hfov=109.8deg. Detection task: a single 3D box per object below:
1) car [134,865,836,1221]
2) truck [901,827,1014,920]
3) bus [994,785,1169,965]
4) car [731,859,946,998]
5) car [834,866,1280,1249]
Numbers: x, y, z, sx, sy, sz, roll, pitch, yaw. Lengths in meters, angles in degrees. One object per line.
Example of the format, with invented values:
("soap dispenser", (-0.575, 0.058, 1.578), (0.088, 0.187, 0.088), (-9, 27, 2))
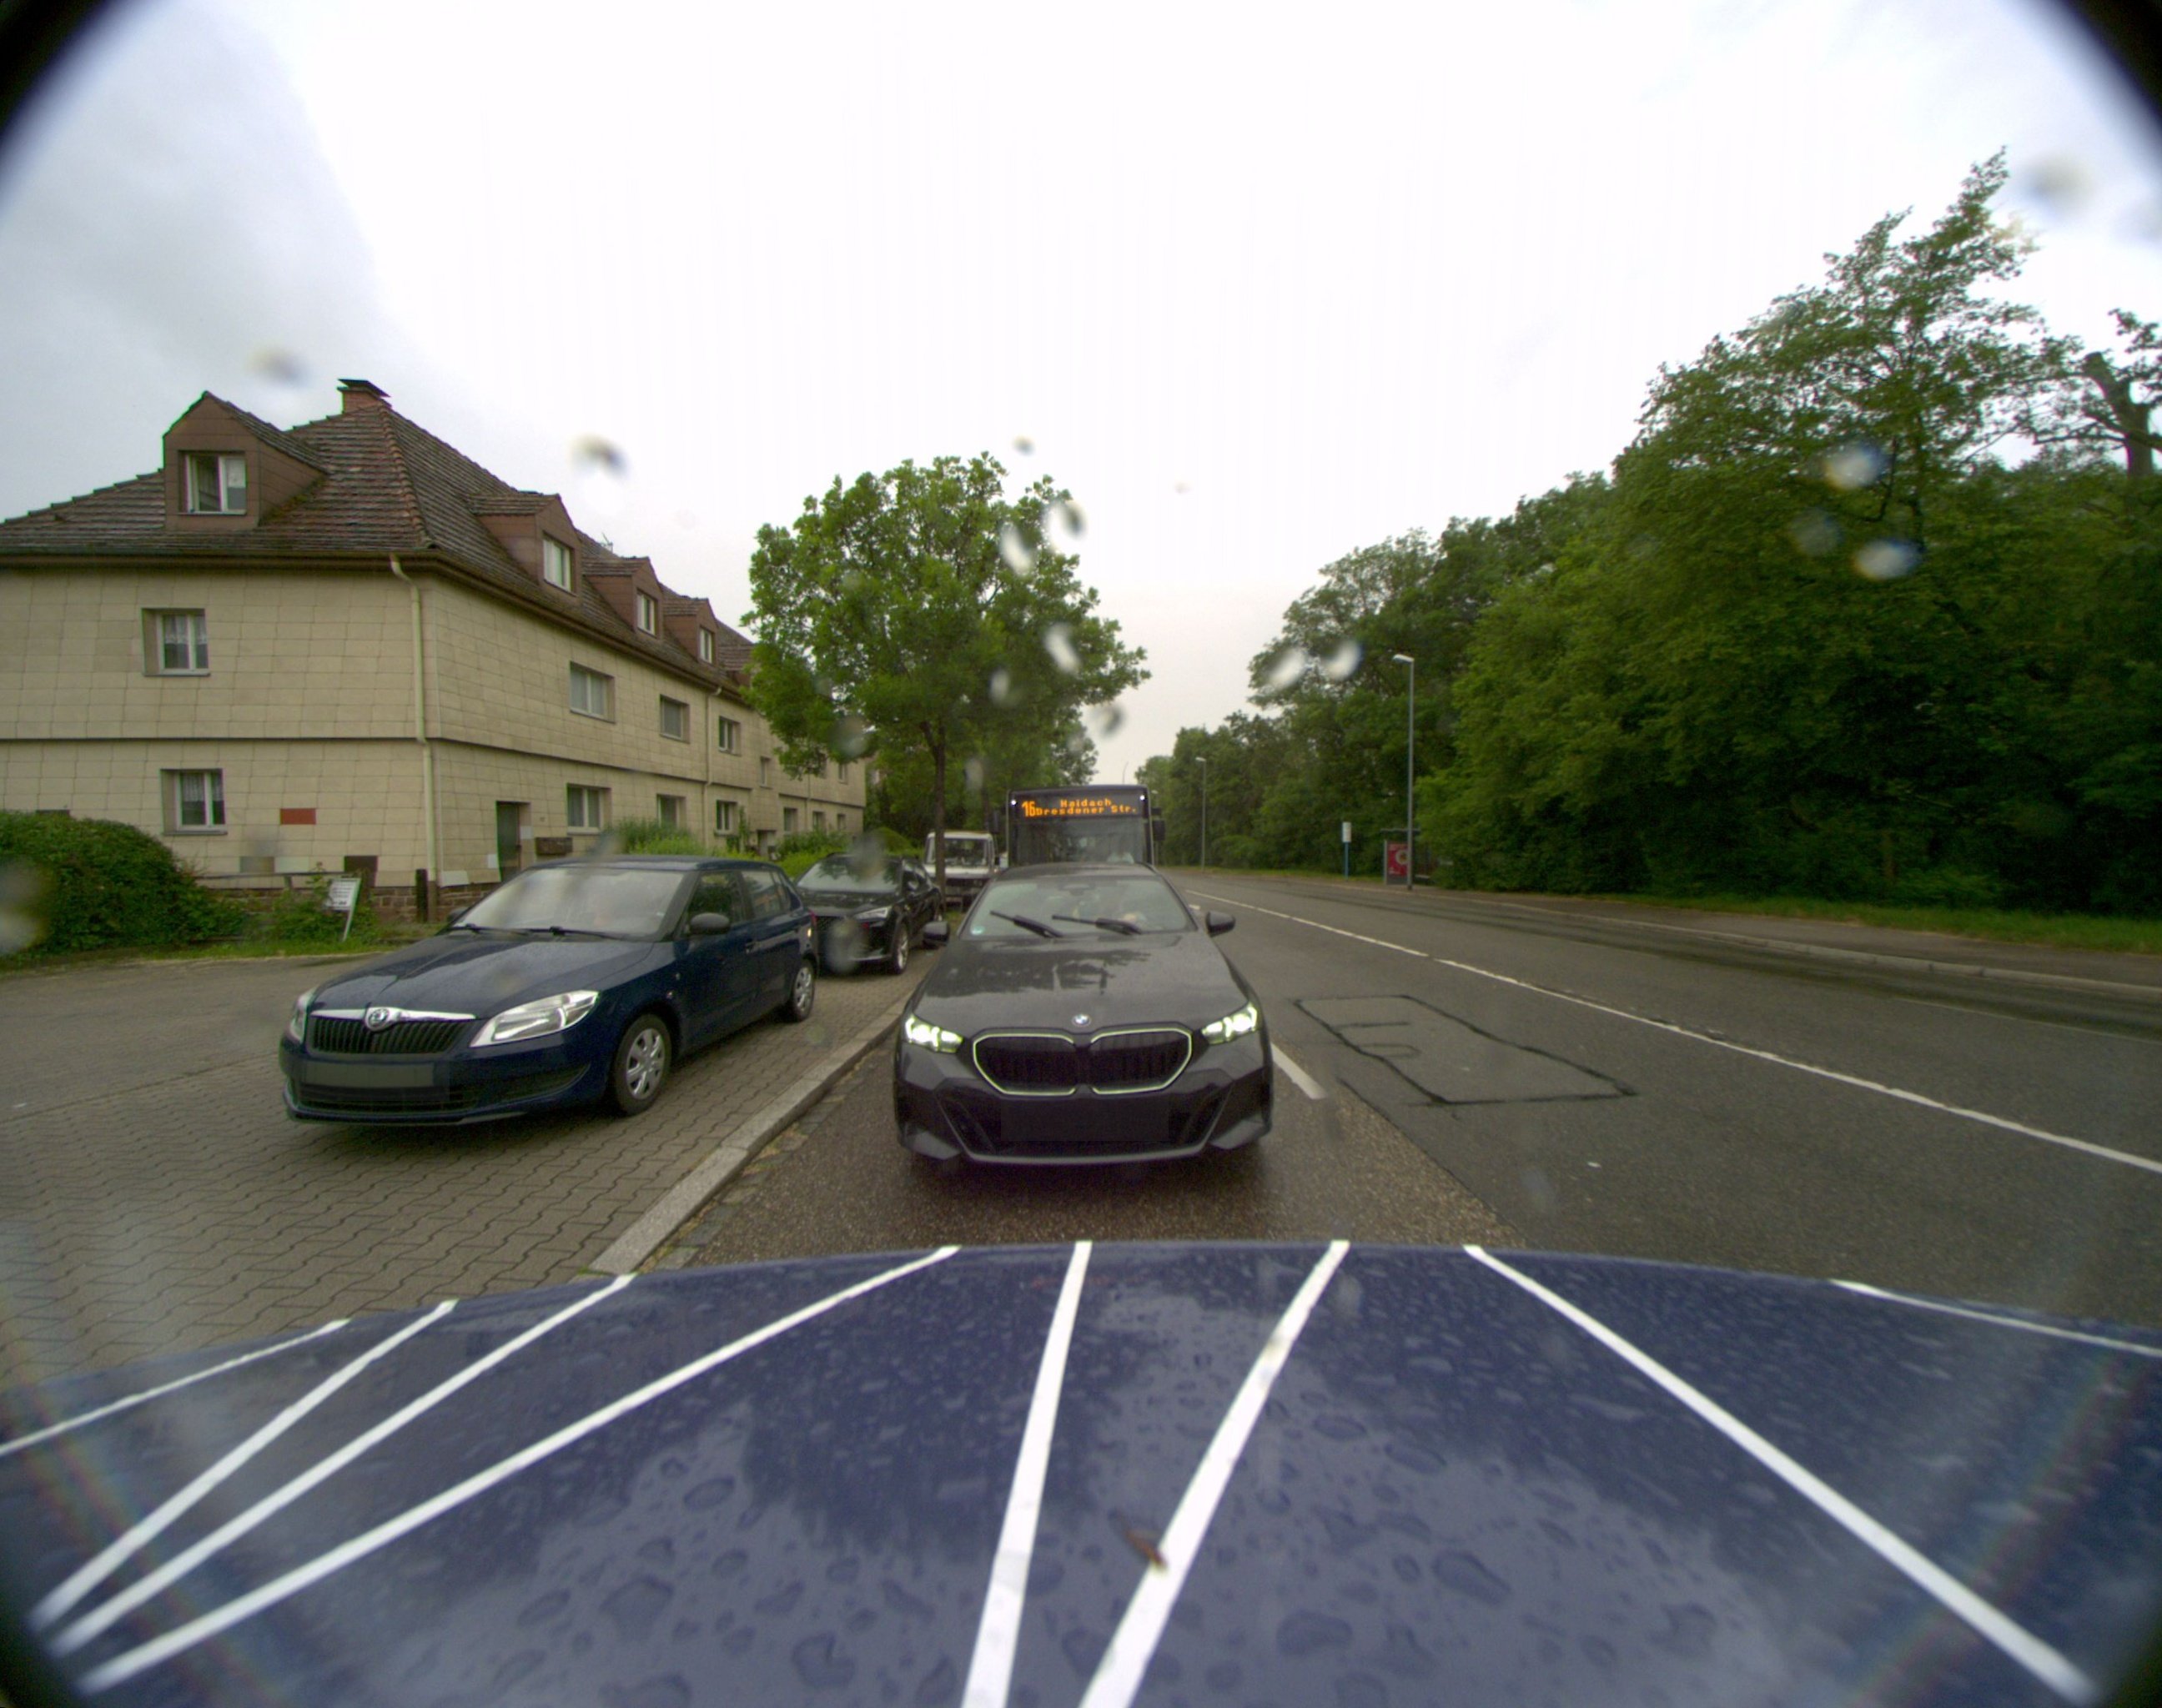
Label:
("car", (-3.259, 0.859, 5.321), (1.720, 1.416, 3.999), (1, 1, 1))
("truck", (-3.177, 0.458, 20.830), (1.998, 2.184, 5.756), (0, 0, 2))
("bus", (0.139, 0.296, 17.178), (2.767, 2.858, 9.403), (-2, 1, 2))
("car", (-3.076, 0.854, 10.517), (1.720, 1.455, 3.999), (1, 1, -1))
("car", (-0.078, 0.930, 5.496), (1.882, 1.520, 4.316), (-3, 0, 1))
